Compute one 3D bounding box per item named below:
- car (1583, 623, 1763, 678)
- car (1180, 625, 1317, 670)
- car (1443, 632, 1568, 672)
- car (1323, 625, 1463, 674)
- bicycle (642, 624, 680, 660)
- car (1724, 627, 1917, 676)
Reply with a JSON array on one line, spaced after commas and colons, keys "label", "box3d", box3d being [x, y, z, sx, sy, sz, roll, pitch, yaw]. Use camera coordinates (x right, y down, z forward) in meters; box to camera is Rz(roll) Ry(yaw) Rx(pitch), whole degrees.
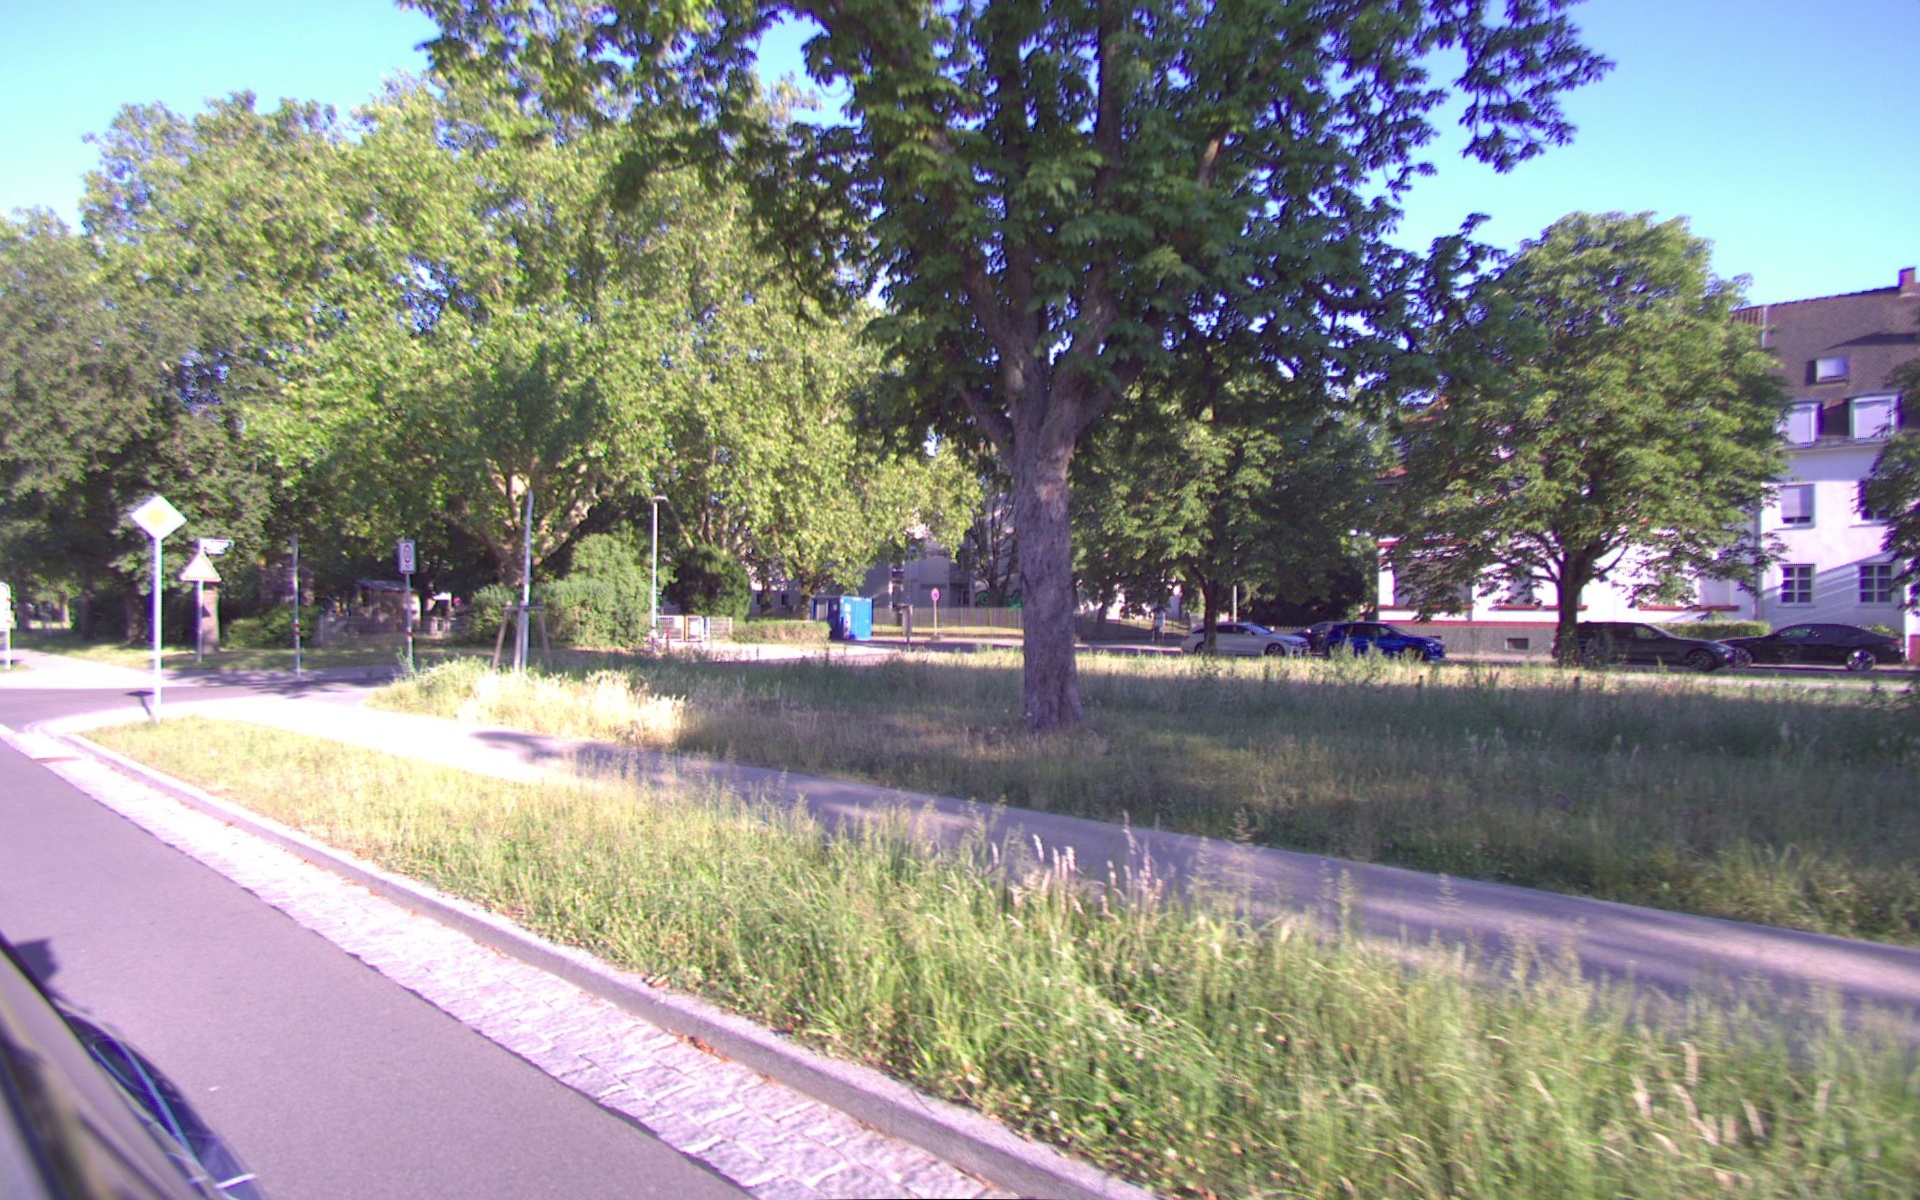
[{"label": "car", "box3d": [20.870, 1.421, 29.720, 4.217, 1.488, 1.676, -1, -1, 39]}, {"label": "car", "box3d": [10.982, 1.760, 38.688, 4.750, 1.609, 1.676, -1, -1, 38]}, {"label": "car", "box3d": [20.321, 1.899, 37.776, 3.851, 1.342, 1.553, -1, 0, 42]}, {"label": "car", "box3d": [15.036, 1.676, 35.268, 4.215, 1.609, 1.676, -1, -1, 38]}, {"label": "bicycle", "box3d": [-10.279, 1.443, 34.782, 0.417, 1.196, 1.579, 0, -1, 18]}, {"label": "car", "box3d": [26.591, 1.539, 31.423, 4.479, 1.342, 1.553, -1, 0, 42]}]
